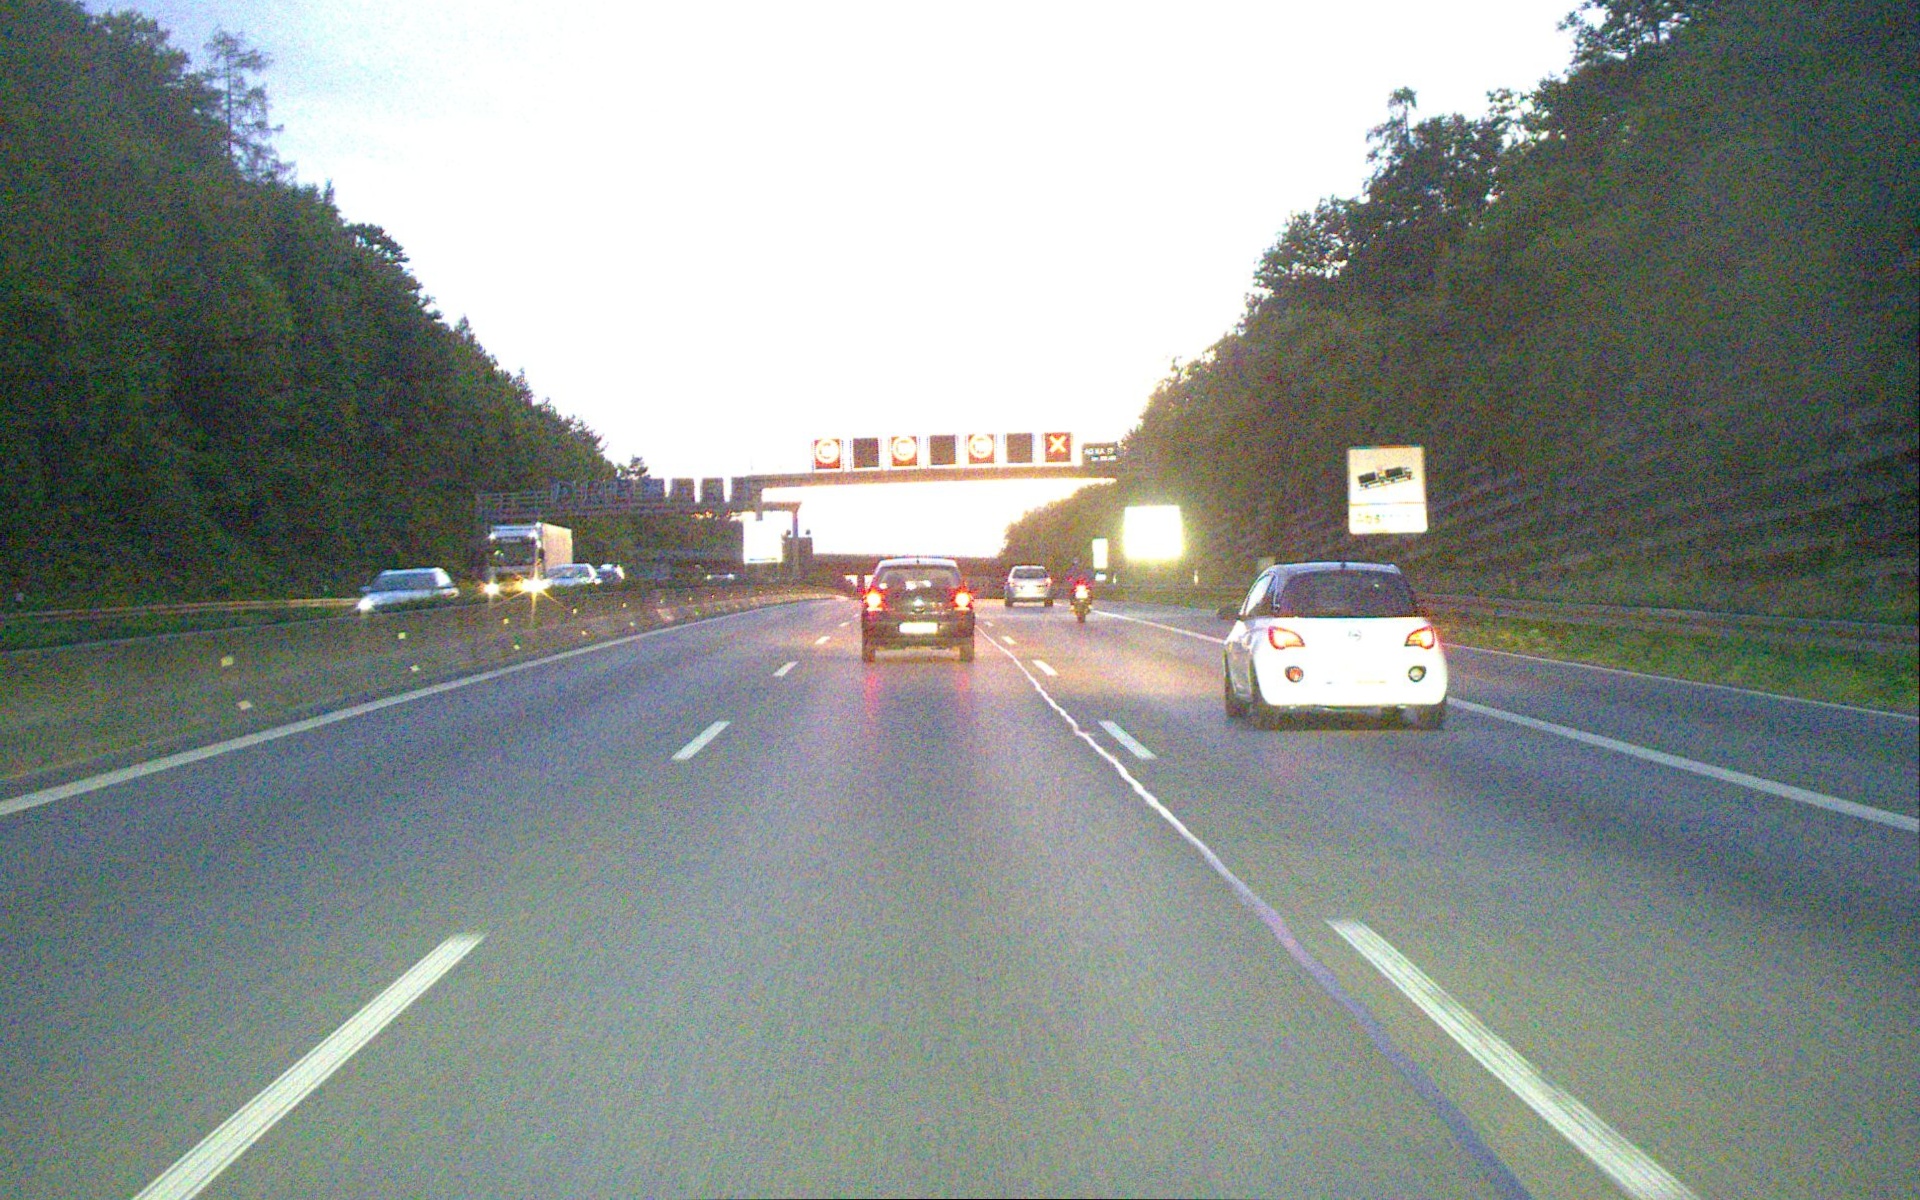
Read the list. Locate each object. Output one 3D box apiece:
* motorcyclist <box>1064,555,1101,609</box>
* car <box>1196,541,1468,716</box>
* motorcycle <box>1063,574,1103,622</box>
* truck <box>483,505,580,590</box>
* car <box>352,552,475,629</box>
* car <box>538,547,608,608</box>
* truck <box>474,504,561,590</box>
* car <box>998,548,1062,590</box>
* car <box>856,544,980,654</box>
[{"bbox_3d":[2.933,-0.427,82.480,0.829,1.287,1.190,-1,0,-1],"label":"motorcyclist"},{"bbox_3d":[3.332,0.258,31.609,1.825,1.471,4.399,1,0,-2],"label":"car"},{"bbox_3d":[2.939,-0.047,82.549,0.829,1.130,2.476,-1,0,-1],"label":"motorcycle"},{"bbox_3d":[-21.364,-2.615,172.100,3.356,3.989,14.498,-1,1,-1],"label":"truck"},{"bbox_3d":[-12.129,-0.247,76.613,1.917,1.607,5.159,-1,1,0],"label":"car"},{"bbox_3d":[-12.825,-0.769,114.216,1.930,1.925,5.113,-1,1,-2],"label":"car"},{"bbox_3d":[-21.190,-2.551,165.029,3.380,3.989,6.880,-1,1,-1],"label":"truck"},{"bbox_3d":[2.572,-1.133,127.117,1.865,1.489,4.399,1,0,-5],"label":"car"},{"bbox_3d":[-0.612,-0.006,49.871,1.704,1.504,4.232,1,0,-1],"label":"car"}]
